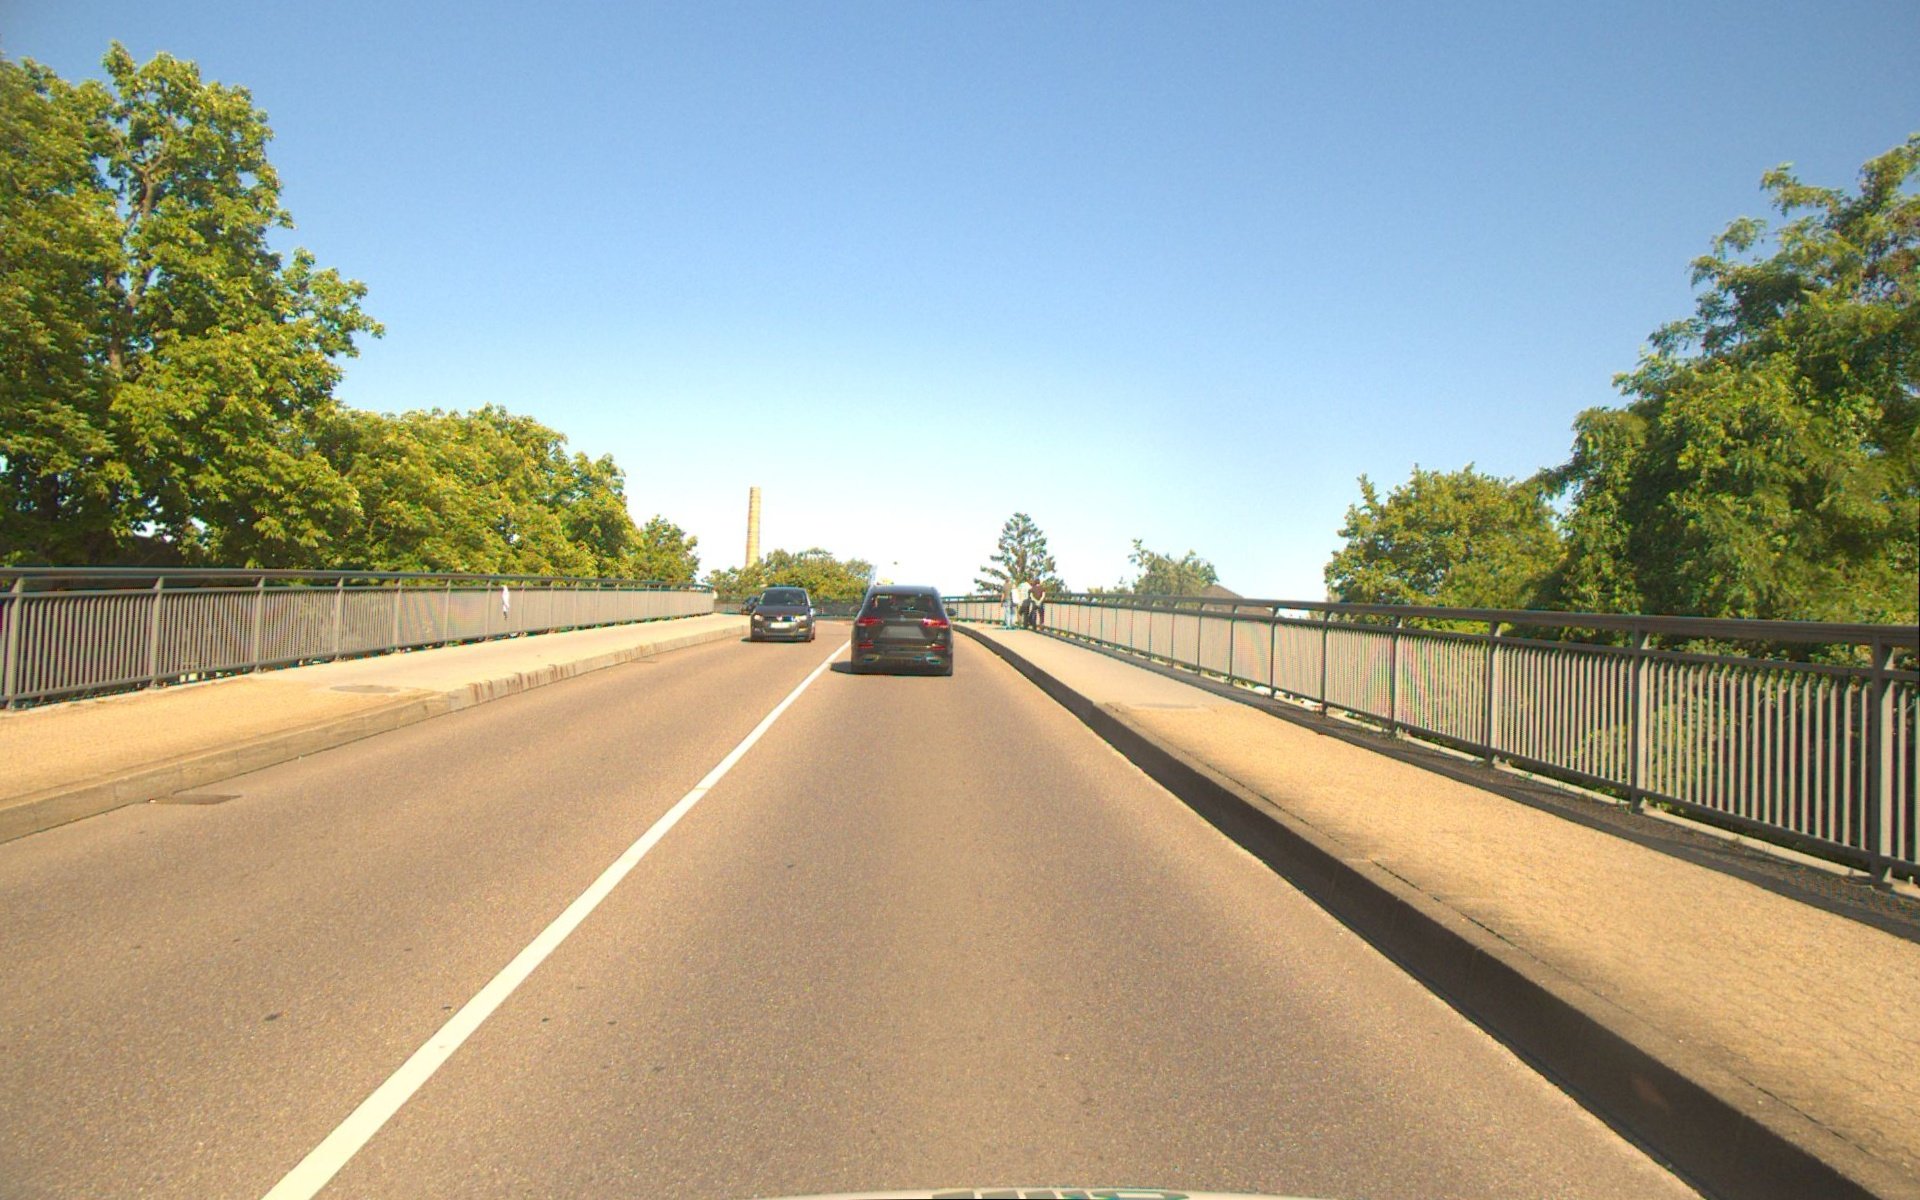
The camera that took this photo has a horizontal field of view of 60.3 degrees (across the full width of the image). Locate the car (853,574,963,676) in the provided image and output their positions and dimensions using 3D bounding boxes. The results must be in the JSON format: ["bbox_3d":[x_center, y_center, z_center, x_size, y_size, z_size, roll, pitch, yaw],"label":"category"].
[{"bbox_3d":[-0.998,0.416,29.568,1.735,1.620,3.985,2,0,-4],"label":"car"}]

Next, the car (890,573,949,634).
[{"bbox_3d":[-1.282,0.137,53.496,1.768,1.669,3.998,2,-3,-1],"label":"car"}]

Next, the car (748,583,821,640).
[{"bbox_3d":[-4.808,0.299,45.649,1.734,1.500,3.987,0,0,-2],"label":"car"}]

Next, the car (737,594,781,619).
[{"bbox_3d":[-13.929,0.480,114.590,1.877,1.515,4.273,0,-3,9],"label":"car"}]

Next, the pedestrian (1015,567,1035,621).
[{"bbox_3d":[2.172,-0.197,55.179,0.538,1.781,0.738,2,-2,-2],"label":"pedestrian"}]

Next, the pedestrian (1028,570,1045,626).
[{"bbox_3d":[2.521,-0.063,54.345,0.462,1.781,0.653,2,-2,-2],"label":"pedestrian"}]

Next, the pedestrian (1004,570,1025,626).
[{"bbox_3d":[1.774,-0.070,54.229,0.590,1.781,0.716,2,-2,-2],"label":"pedestrian"}]

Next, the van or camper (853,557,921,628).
[{"bbox_3d":[-3.292,-0.252,73.136,2.185,2.787,7.065,2,-2,-8],"label":"van or camper"}]
